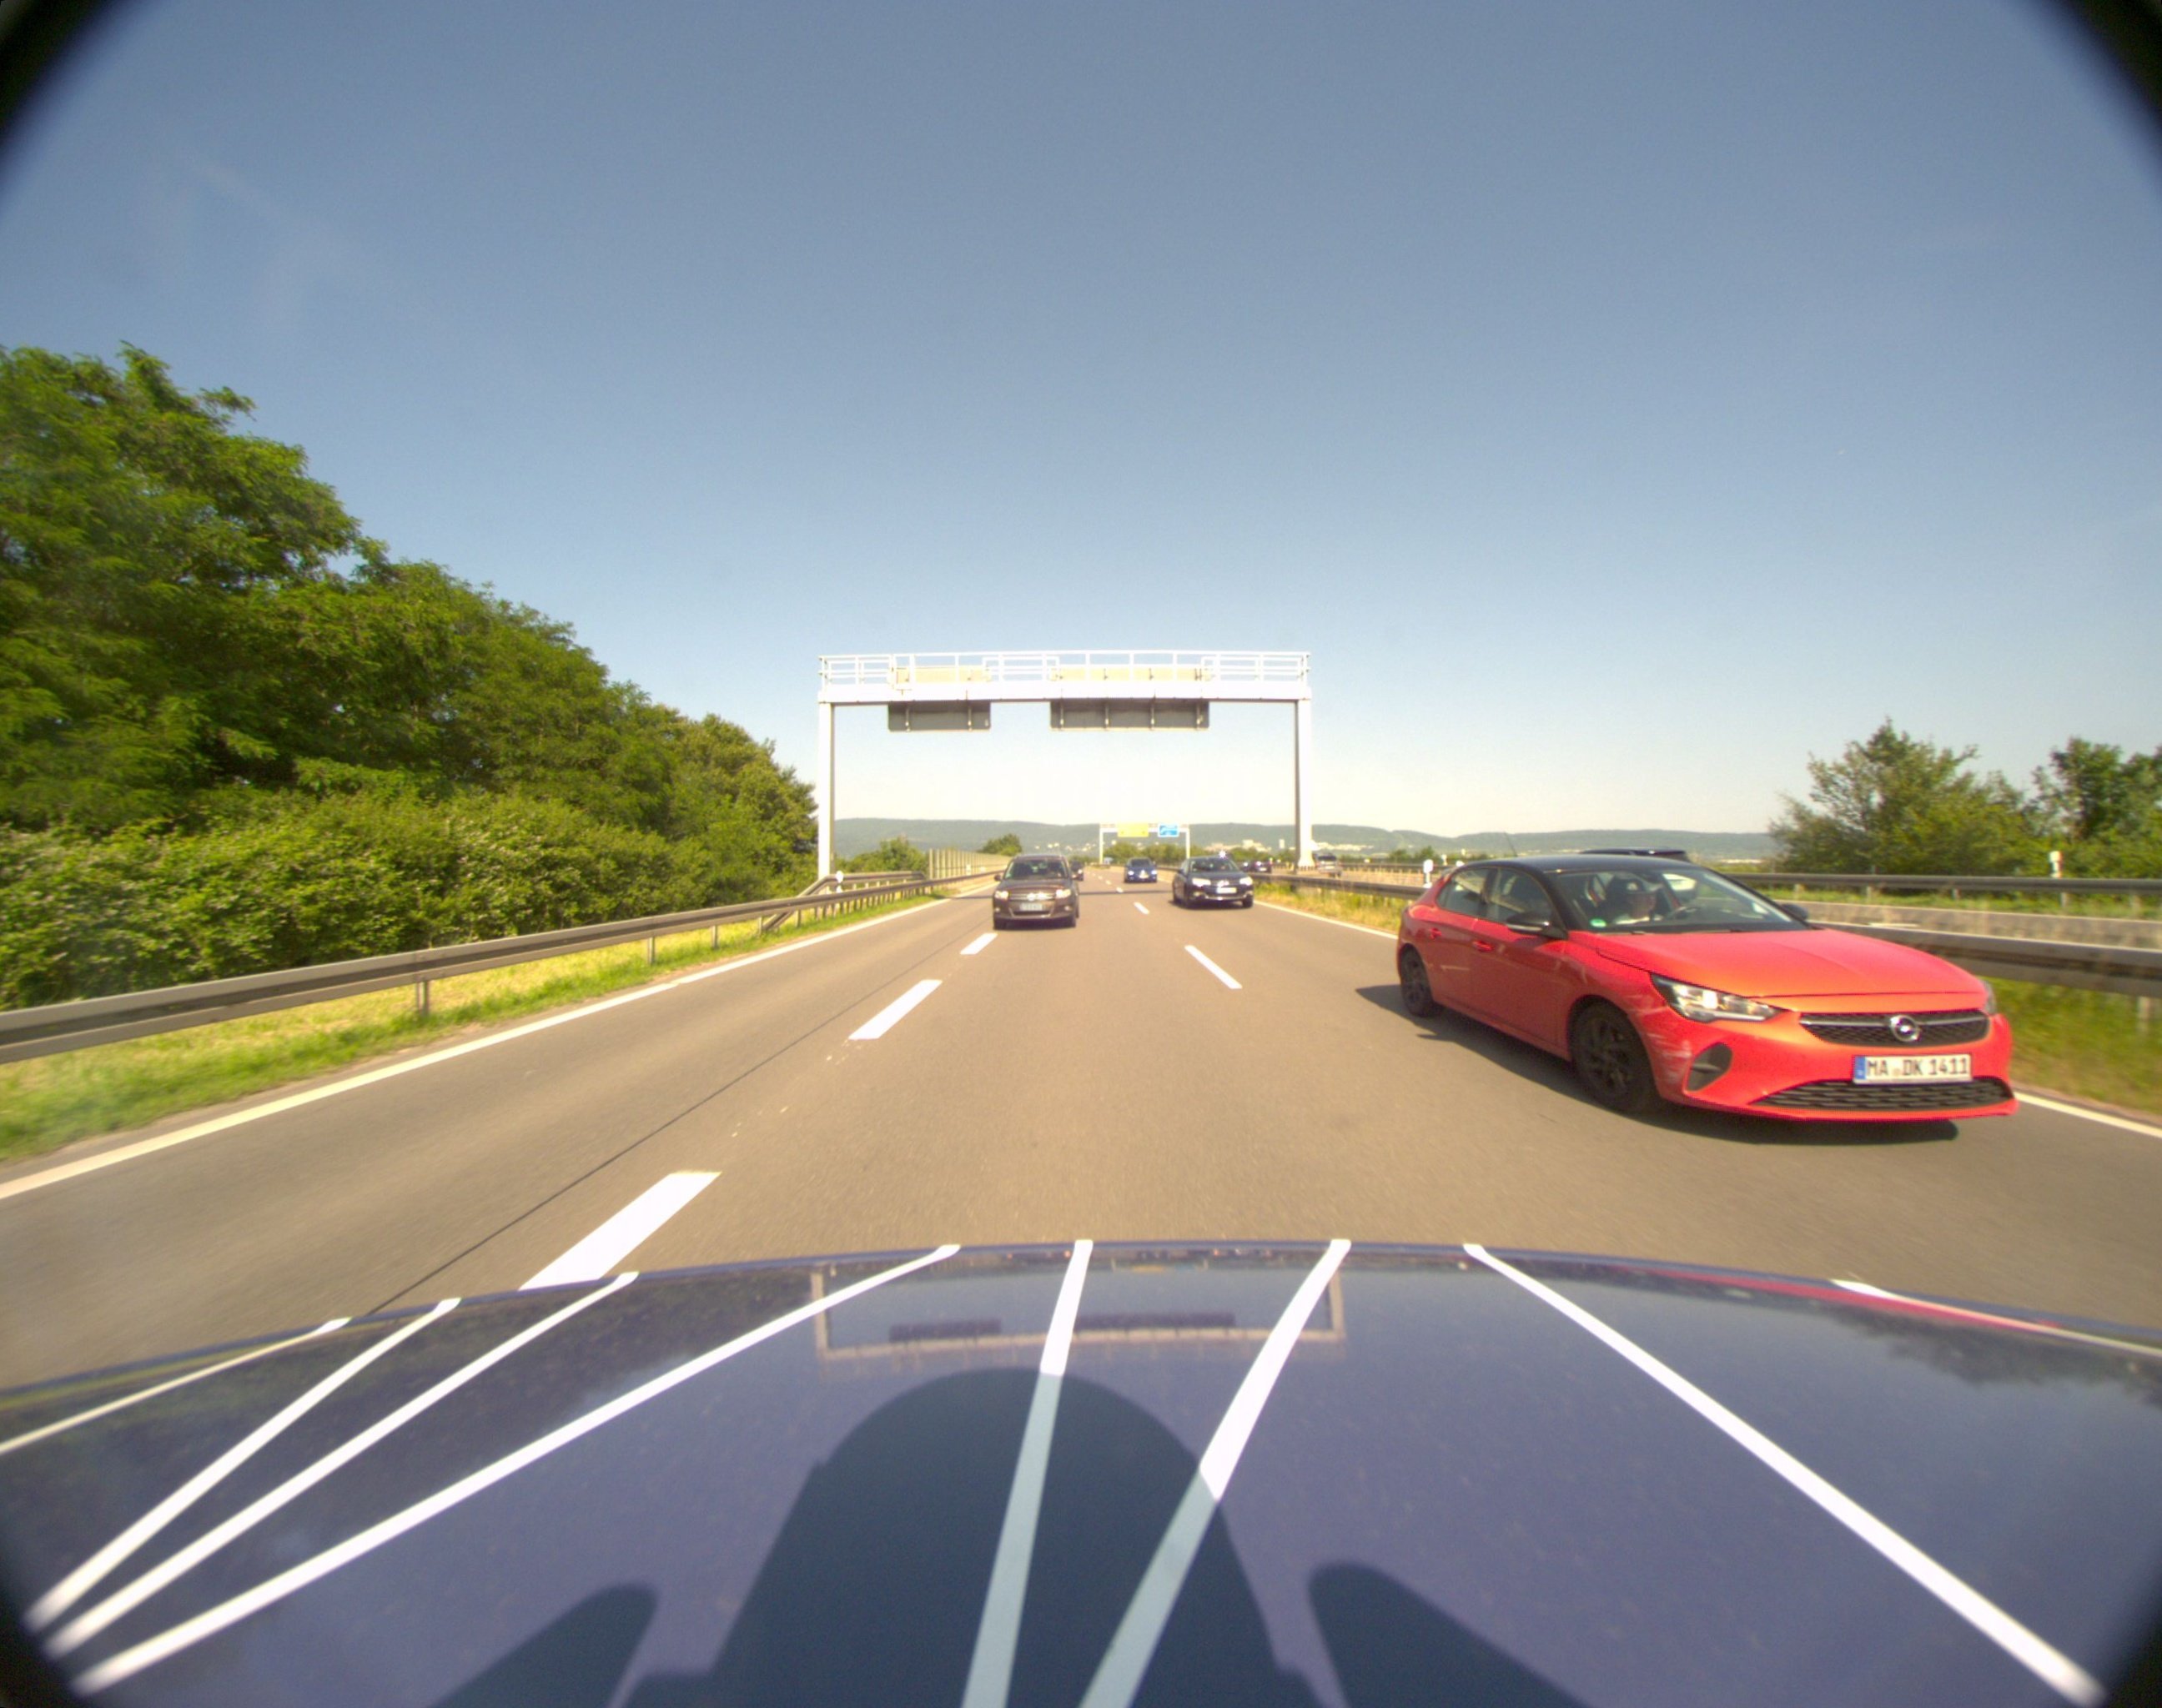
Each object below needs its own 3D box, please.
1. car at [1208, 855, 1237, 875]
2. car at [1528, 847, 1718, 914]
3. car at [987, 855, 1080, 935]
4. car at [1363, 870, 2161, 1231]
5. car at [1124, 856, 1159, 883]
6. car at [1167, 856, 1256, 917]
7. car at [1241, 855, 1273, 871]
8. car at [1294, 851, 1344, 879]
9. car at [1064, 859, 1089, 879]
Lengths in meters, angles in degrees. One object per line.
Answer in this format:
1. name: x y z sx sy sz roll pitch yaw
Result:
1. car: 14.393 1.121 77.407 1.999 1.894 4.416 -1 0 -2
2. car: 15.005 0.666 21.443 1.906 1.611 4.628 -2 0 -2
3. car: -1.003 0.878 18.005 1.790 1.637 4.148 -2 -1 1
4. car: 3.710 0.878 5.423 1.713 1.428 4.412 -2 -1 0
5. car: 3.477 0.881 44.016 1.652 1.403 3.775 -2 1 -1
6. car: 3.673 0.857 22.120 1.788 1.524 4.375 -2 0 0
7. car: 14.407 0.719 62.355 1.570 1.262 3.715 -2 -1 -2
8. car: 14.381 0.666 46.045 1.737 1.607 4.003 -2 0 0
9. car: -0.333 0.996 52.268 1.601 1.241 4.000 -2 0 -1
